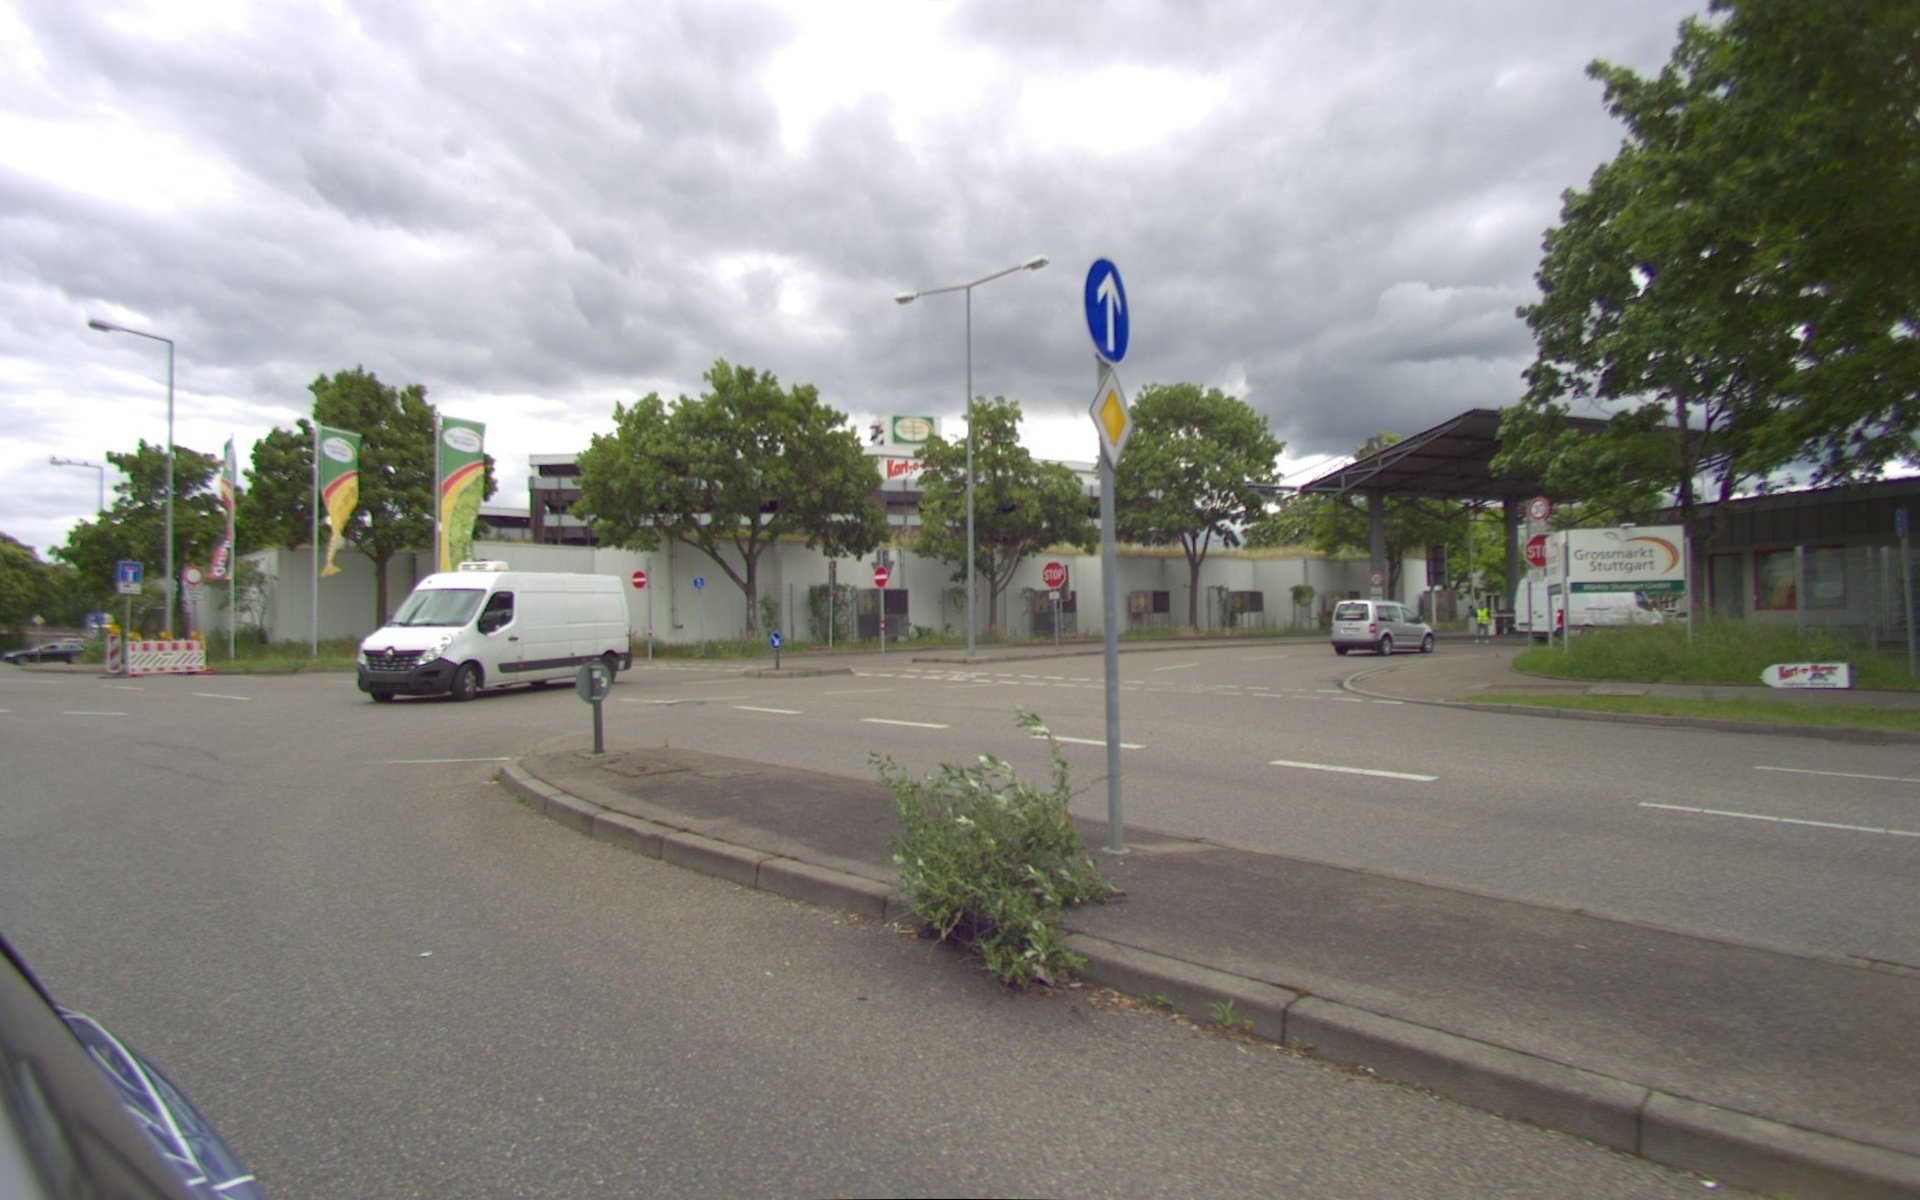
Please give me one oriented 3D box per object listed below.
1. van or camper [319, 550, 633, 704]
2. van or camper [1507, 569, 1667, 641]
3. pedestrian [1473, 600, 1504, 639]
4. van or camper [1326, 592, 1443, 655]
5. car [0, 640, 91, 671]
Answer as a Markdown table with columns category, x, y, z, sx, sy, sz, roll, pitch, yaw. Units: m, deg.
| category | x | y | z | sx | sy | sz | roll | pitch | yaw |
| --- | --- | --- | --- | --- | --- | --- | --- | --- | --- |
| van or camper | -9.293 | 0.506 | 20.260 | 2.252 | 2.576 | 6.079 | -2 | -1 | 15 |
| van or camper | 24.515 | 0.172 | 39.521 | 6.464 | 2.576 | 2.339 | -1 | -1 | -29 |
| pedestrian | 21.733 | 0.794 | 41.626 | 0.802 | 1.571 | 0.771 | 0 | -2 | -28 |
| van or camper | 14.403 | 0.758 | 34.240 | 4.210 | 1.978 | 1.961 | -1 | -1 | -41 |
| car | -62.022 | 3.734 | 68.706 | 4.551 | 1.823 | 2.003 | -1 | -1 | -41 |
